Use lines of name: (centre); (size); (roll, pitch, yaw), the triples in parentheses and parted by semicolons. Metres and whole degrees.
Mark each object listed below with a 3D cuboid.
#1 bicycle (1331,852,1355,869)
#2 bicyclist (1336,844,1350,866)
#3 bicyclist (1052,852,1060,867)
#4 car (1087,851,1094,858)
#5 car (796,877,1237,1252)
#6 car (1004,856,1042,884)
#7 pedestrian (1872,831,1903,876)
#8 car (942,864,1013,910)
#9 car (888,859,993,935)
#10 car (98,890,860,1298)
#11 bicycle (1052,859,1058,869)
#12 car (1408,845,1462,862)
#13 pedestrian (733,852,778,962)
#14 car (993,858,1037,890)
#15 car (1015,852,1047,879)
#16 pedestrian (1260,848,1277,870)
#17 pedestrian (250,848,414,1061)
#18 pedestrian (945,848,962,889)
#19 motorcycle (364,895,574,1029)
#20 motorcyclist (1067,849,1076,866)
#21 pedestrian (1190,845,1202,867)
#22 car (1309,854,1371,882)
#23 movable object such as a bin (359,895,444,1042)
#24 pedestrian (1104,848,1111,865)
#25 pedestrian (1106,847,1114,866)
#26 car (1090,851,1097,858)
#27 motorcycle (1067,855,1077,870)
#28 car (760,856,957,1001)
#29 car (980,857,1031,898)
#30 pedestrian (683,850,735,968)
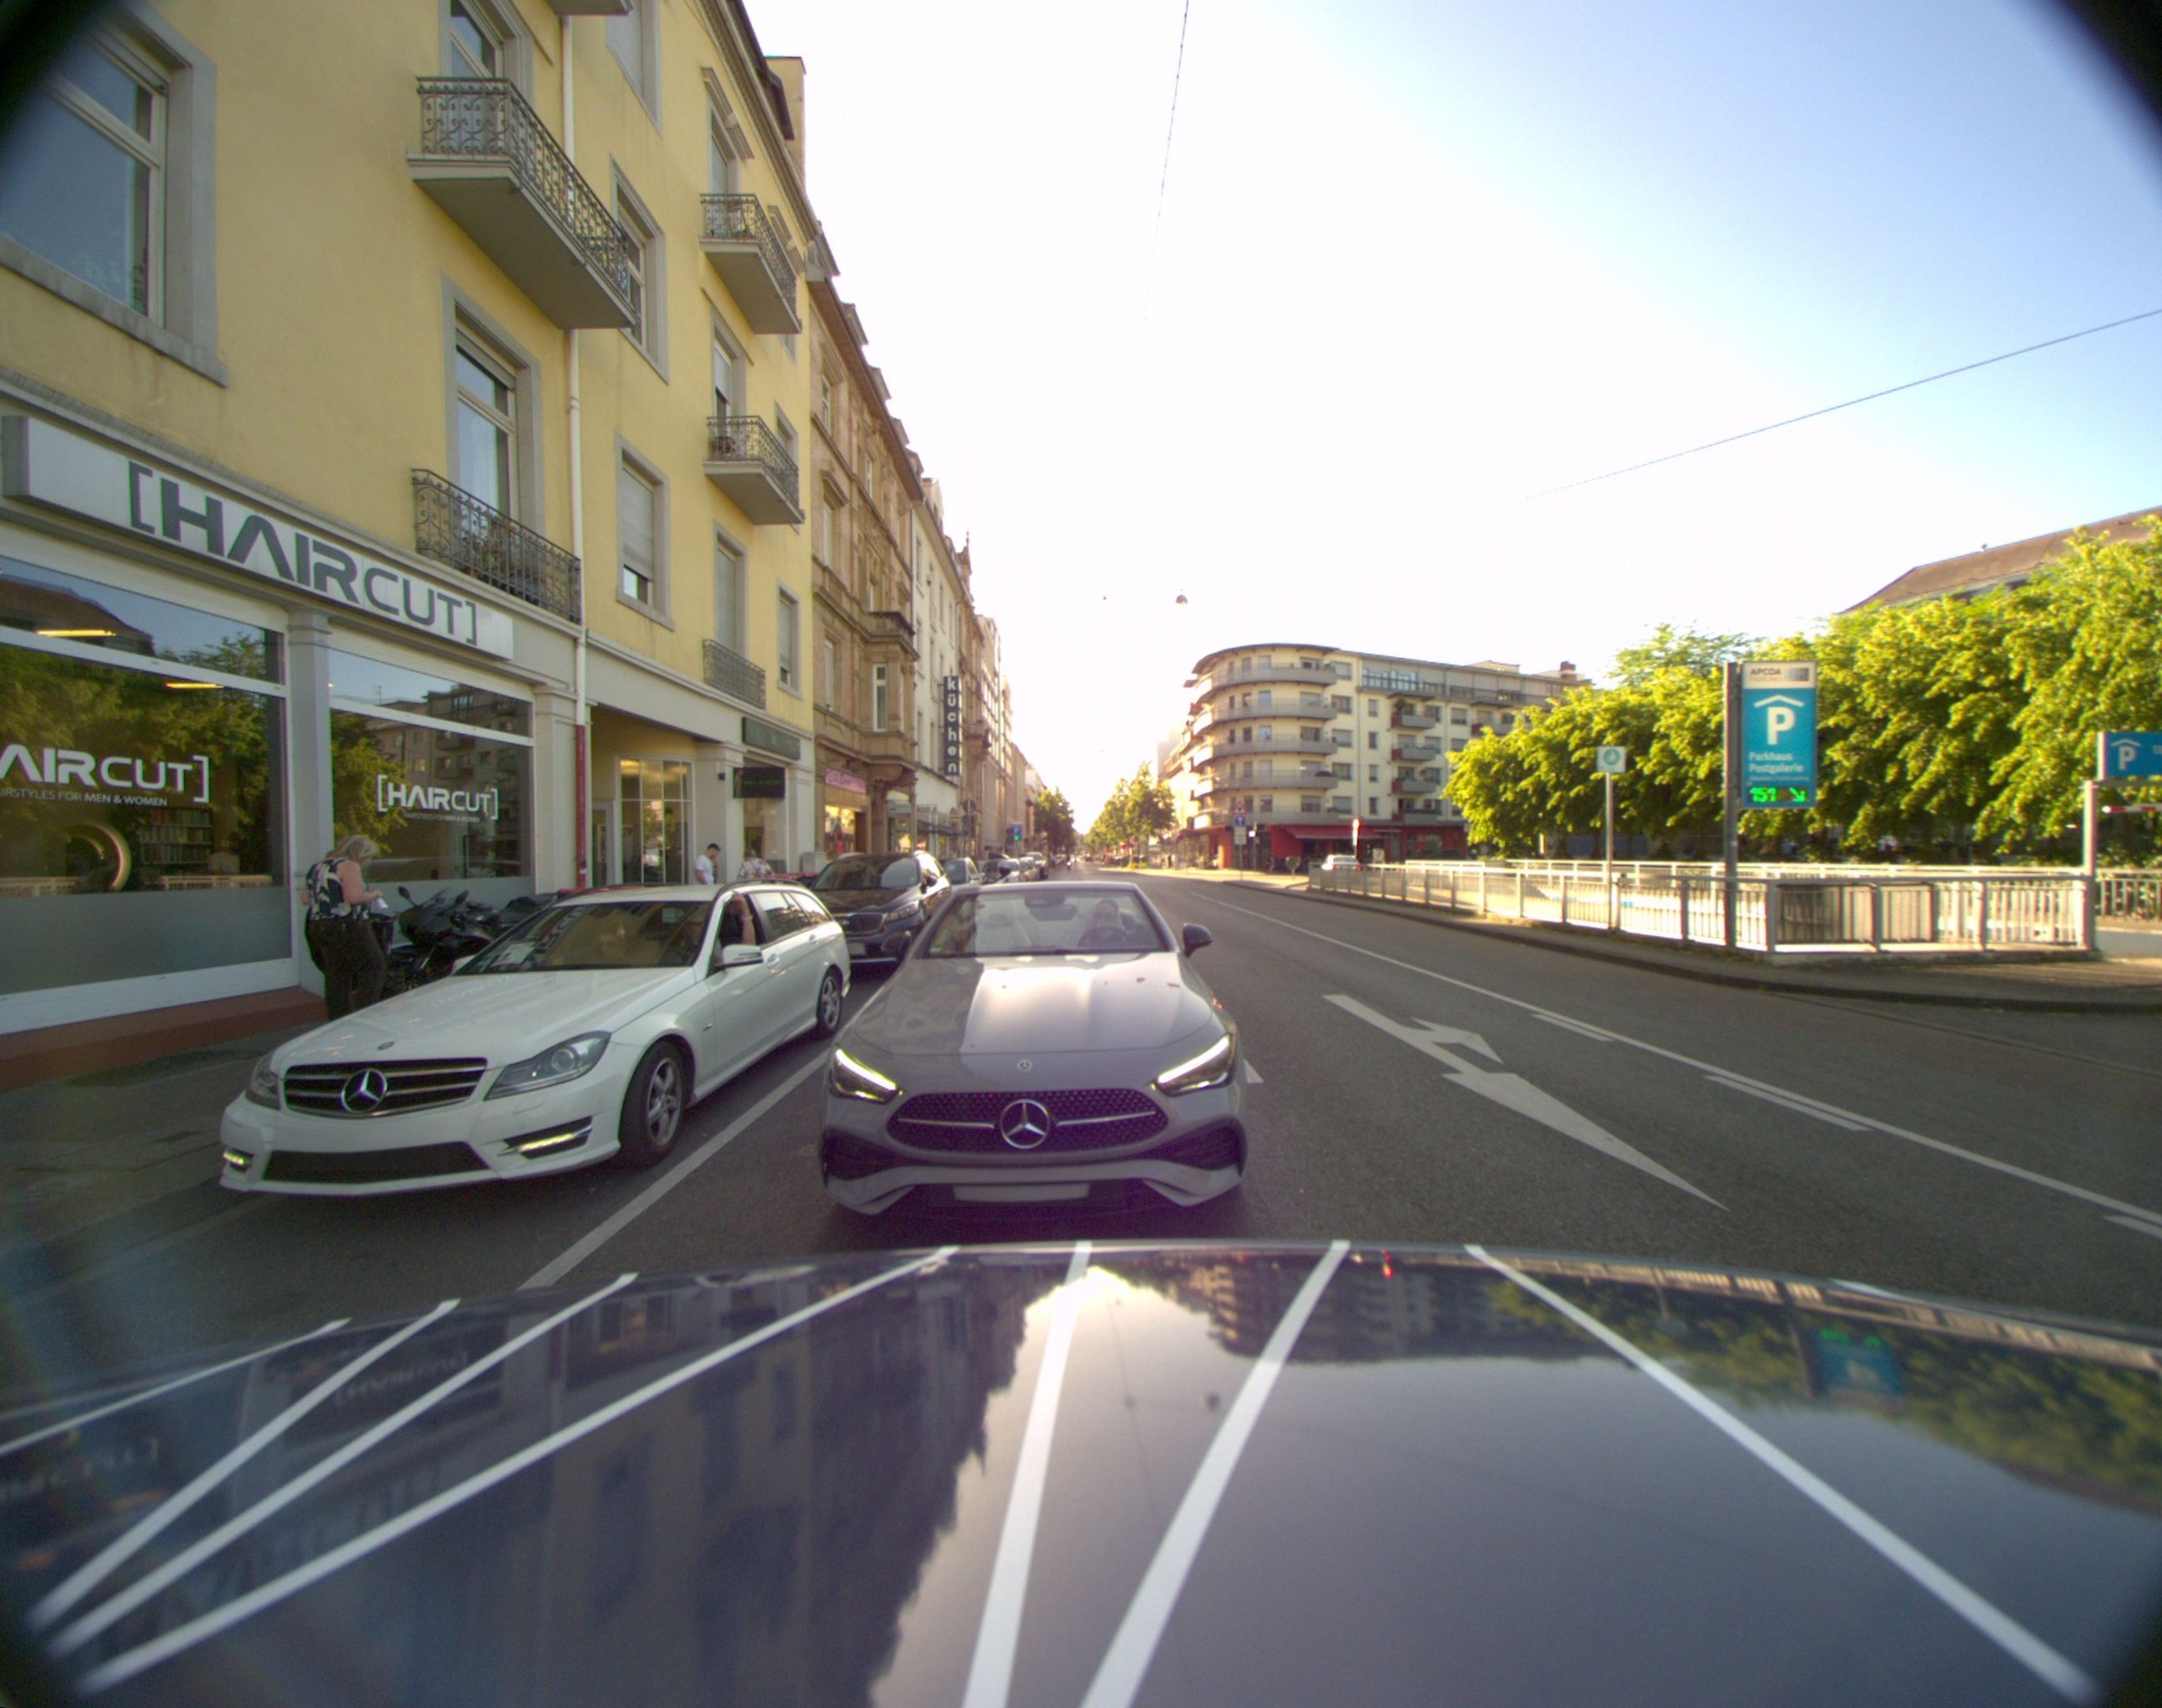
bicycle: (19.384, 0.497, 56.220); (1.594, 1.163, 0.527); (-2, 1, -16)
bicyclist: (19.365, 0.063, 56.206); (0.799, 1.539, 0.524); (-2, 1, -15)
bicyclist: (-2.918, 0.645, 87.999); (0.885, 1.625, 0.768); (-1, 1, -1)
car: (2.101, 0.007, 173.563); (1.615, 1.534, 3.931); (-1, 0, 1)
car: (-0.245, 0.951, 5.191); (1.802, 1.351, 3.999); (-2, 1, 1)
car: (-3.077, 0.836, 41.003); (1.725, 1.332, 3.668); (-2, 1, -1)
pedestrian: (31.617, -0.011, 29.798); (0.647, 1.711, 0.607); (-3, 1, -19)
car: (-3.368, 1.031, 25.433); (1.802, 1.259, 4.085); (-2, 1, -1)
car: (-3.298, 0.941, 18.586); (1.802, 1.518, 4.085); (-2, 1, -1)
car: (-3.074, 1.083, 5.271); (1.704, 1.351, 4.378); (-2, 1, 1)
bicycle: (-2.954, 1.184, 88.035); (0.641, 1.078, 2.061); (-1, 0, -1)
car: (29.067, -0.048, 62.385); (4.004, 1.294, 1.753); (-2, 1, -23)
pedestrian: (-5.710, 0.905, 13.337); (0.576, 1.840, 0.663); (-3, 1, -30)
car: (-3.115, 0.934, 36.695); (1.802, 1.332, 3.838); (-2, 1, -1)
car: (-3.076, 0.695, 47.688); (1.725, 1.506, 4.004); (-2, 1, -1)
pedestrian: (14.282, 0.394, 57.791); (0.863, 1.586, 0.887); (-3, 1, -38)
pedestrian: (-6.062, 0.776, 6.184); (0.719, 1.644, 0.606); (1, 1, 1)
pedestrian: (-5.904, 0.669, 35.263); (0.574, 1.840, 0.665); (-2, 1, 1)
motorcycle: (-6.210, 1.038, 7.874); (0.567, 1.072, 1.954); (2, 1, 1)
motorcyclist: (-0.804, 0.324, 66.843); (0.722, 1.438, 0.705); (-2, 1, 1)
pedestrian: (10.302, 0.180, 68.126); (0.860, 2.002, 0.889); (-2, 1, 0)
car: (13.661, 0.706, 40.298); (1.823, 1.345, 4.264); (1, 1, 0)
movable object such as a bin: (-5.981, 0.994, 6.696); (0.391, 1.231, 0.394); (1, 1, 1)
pedestrian: (3.314, 0.295, 94.367); (0.792, 2.002, 0.889); (-2, 1, 1)
pedestrian: (3.230, 0.263, 84.383); (0.860, 2.002, 0.889); (-2, 1, 1)
car: (2.782, 0.080, 173.968); (1.615, 1.534, 3.931); (-1, 0, 1)
motorcycle: (-0.783, 0.733, 66.866); (0.720, 1.177, 1.906); (-2, 1, 1)
car: (-3.026, 0.909, 11.302); (1.803, 1.629, 4.243); (-2, 1, -3)
car: (-2.980, 0.905, 30.738); (1.660, 1.423, 4.085); (-2, 1, -1)
pedestrian: (-6.391, 0.913, 13.067); (0.373, 1.971, 0.695); (0, 1, 23)
